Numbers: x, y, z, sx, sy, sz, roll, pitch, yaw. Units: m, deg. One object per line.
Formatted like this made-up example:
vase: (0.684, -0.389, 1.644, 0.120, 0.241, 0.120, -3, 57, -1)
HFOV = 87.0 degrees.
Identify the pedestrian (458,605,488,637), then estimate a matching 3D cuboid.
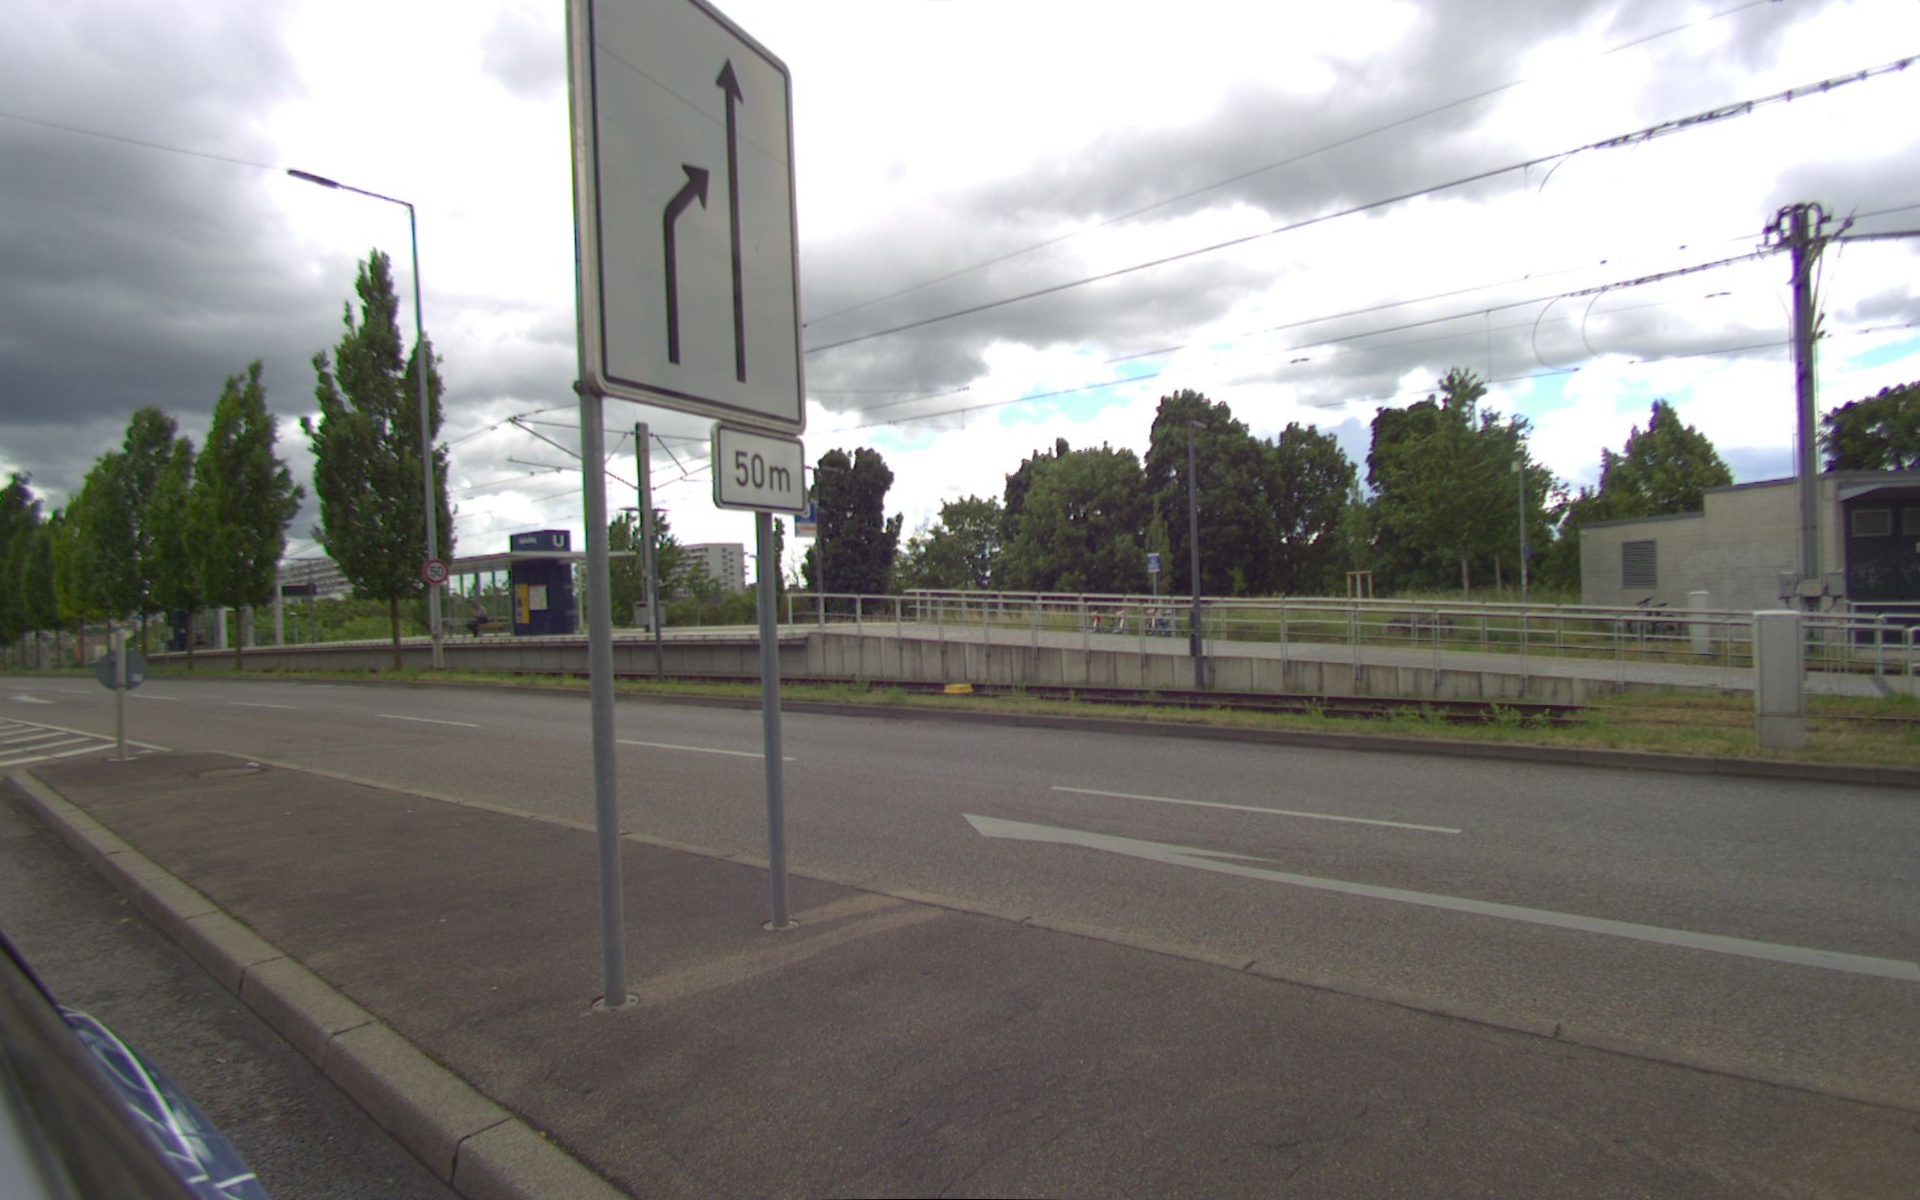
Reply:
pedestrian: (-18.312, 0.797, 38.060, 0.837, 1.184, 0.741, -1, 0, 40)

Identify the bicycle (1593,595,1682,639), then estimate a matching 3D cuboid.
bicycle: (18.201, 0.442, 27.258, 0.668, 1.114, 2.260, -1, 0, -7)
